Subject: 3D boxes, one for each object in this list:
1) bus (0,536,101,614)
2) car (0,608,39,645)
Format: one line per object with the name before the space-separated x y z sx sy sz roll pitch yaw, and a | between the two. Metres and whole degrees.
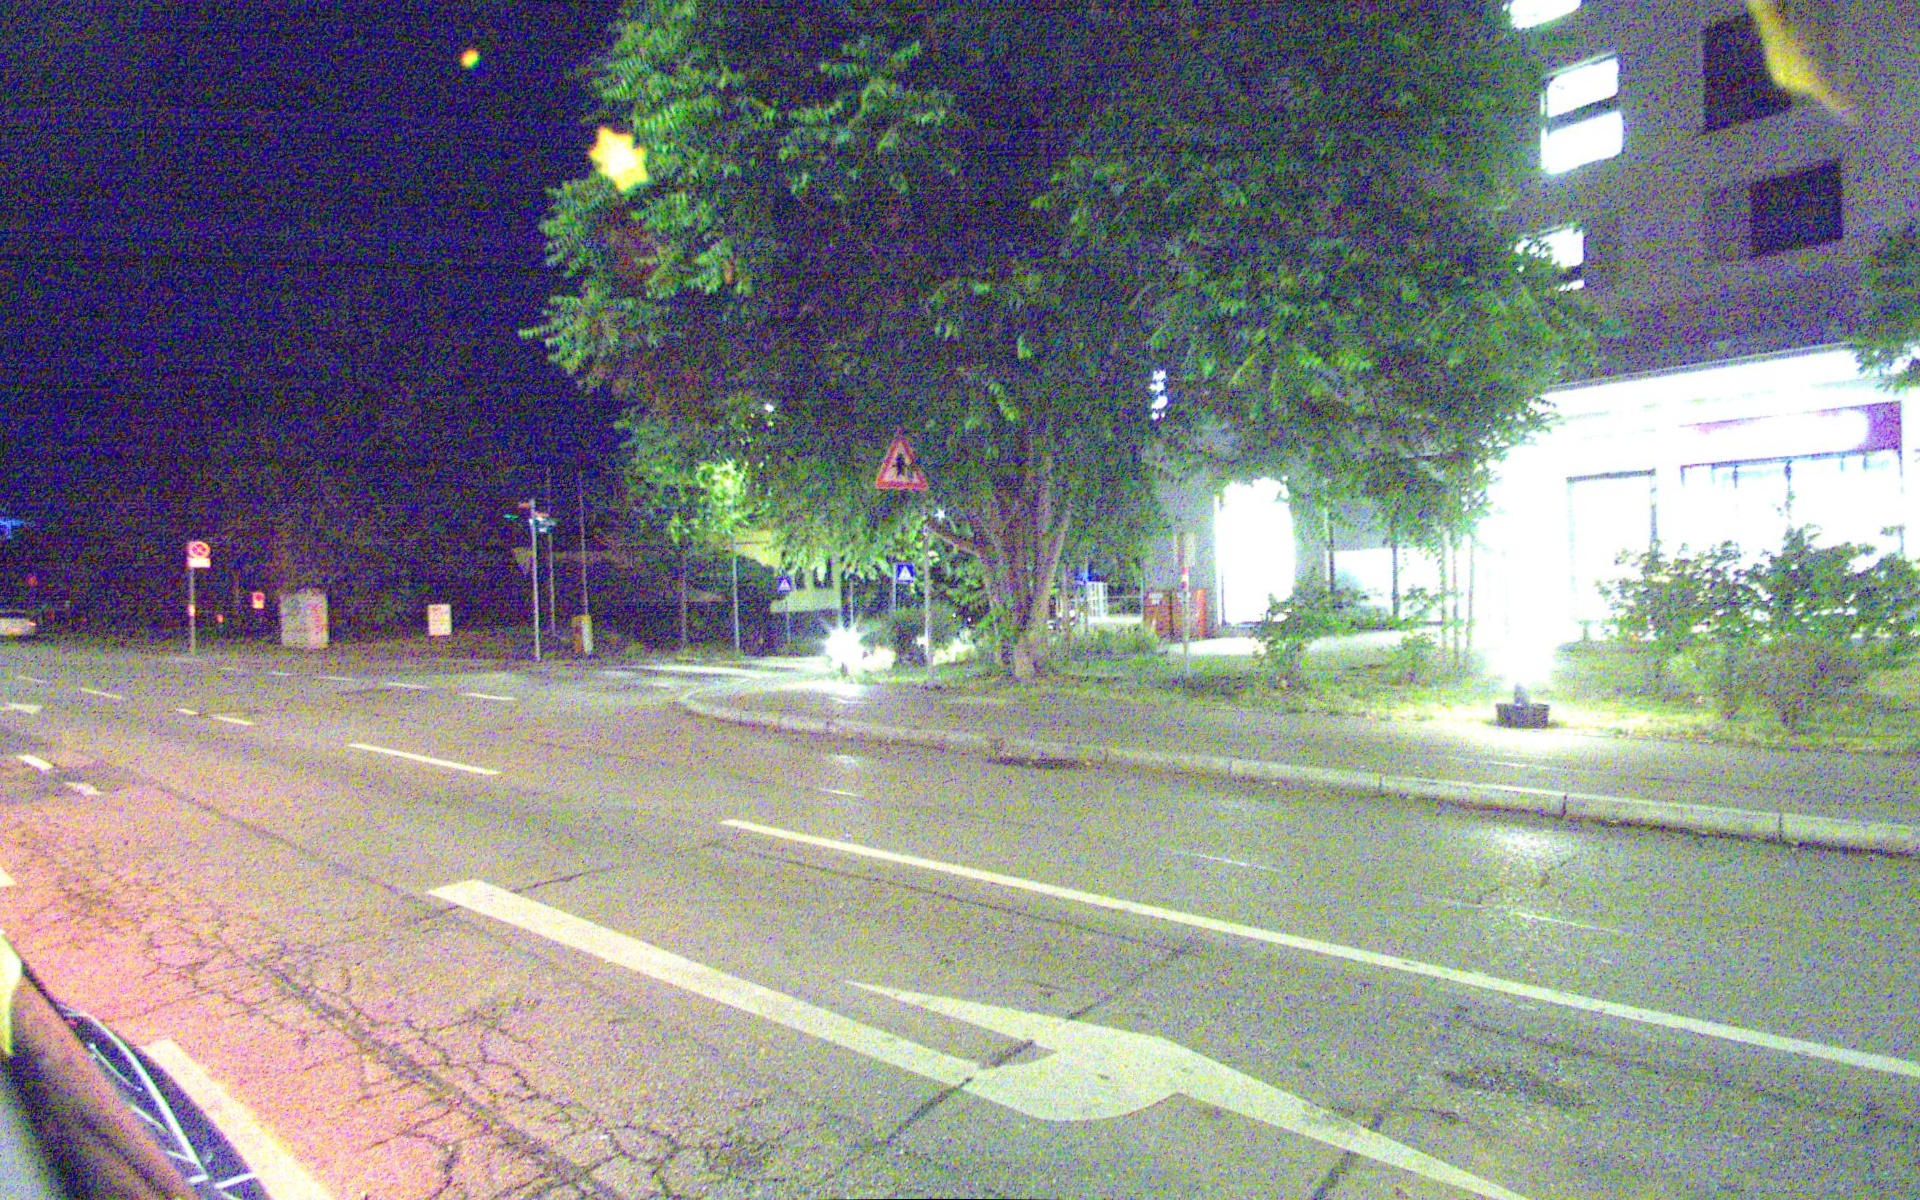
bus | -88.548 -2.240 97.995 14.776 6.990 6.056 -1 0 41
car | -43.103 1.184 45.576 3.995 1.604 1.784 -1 0 39
